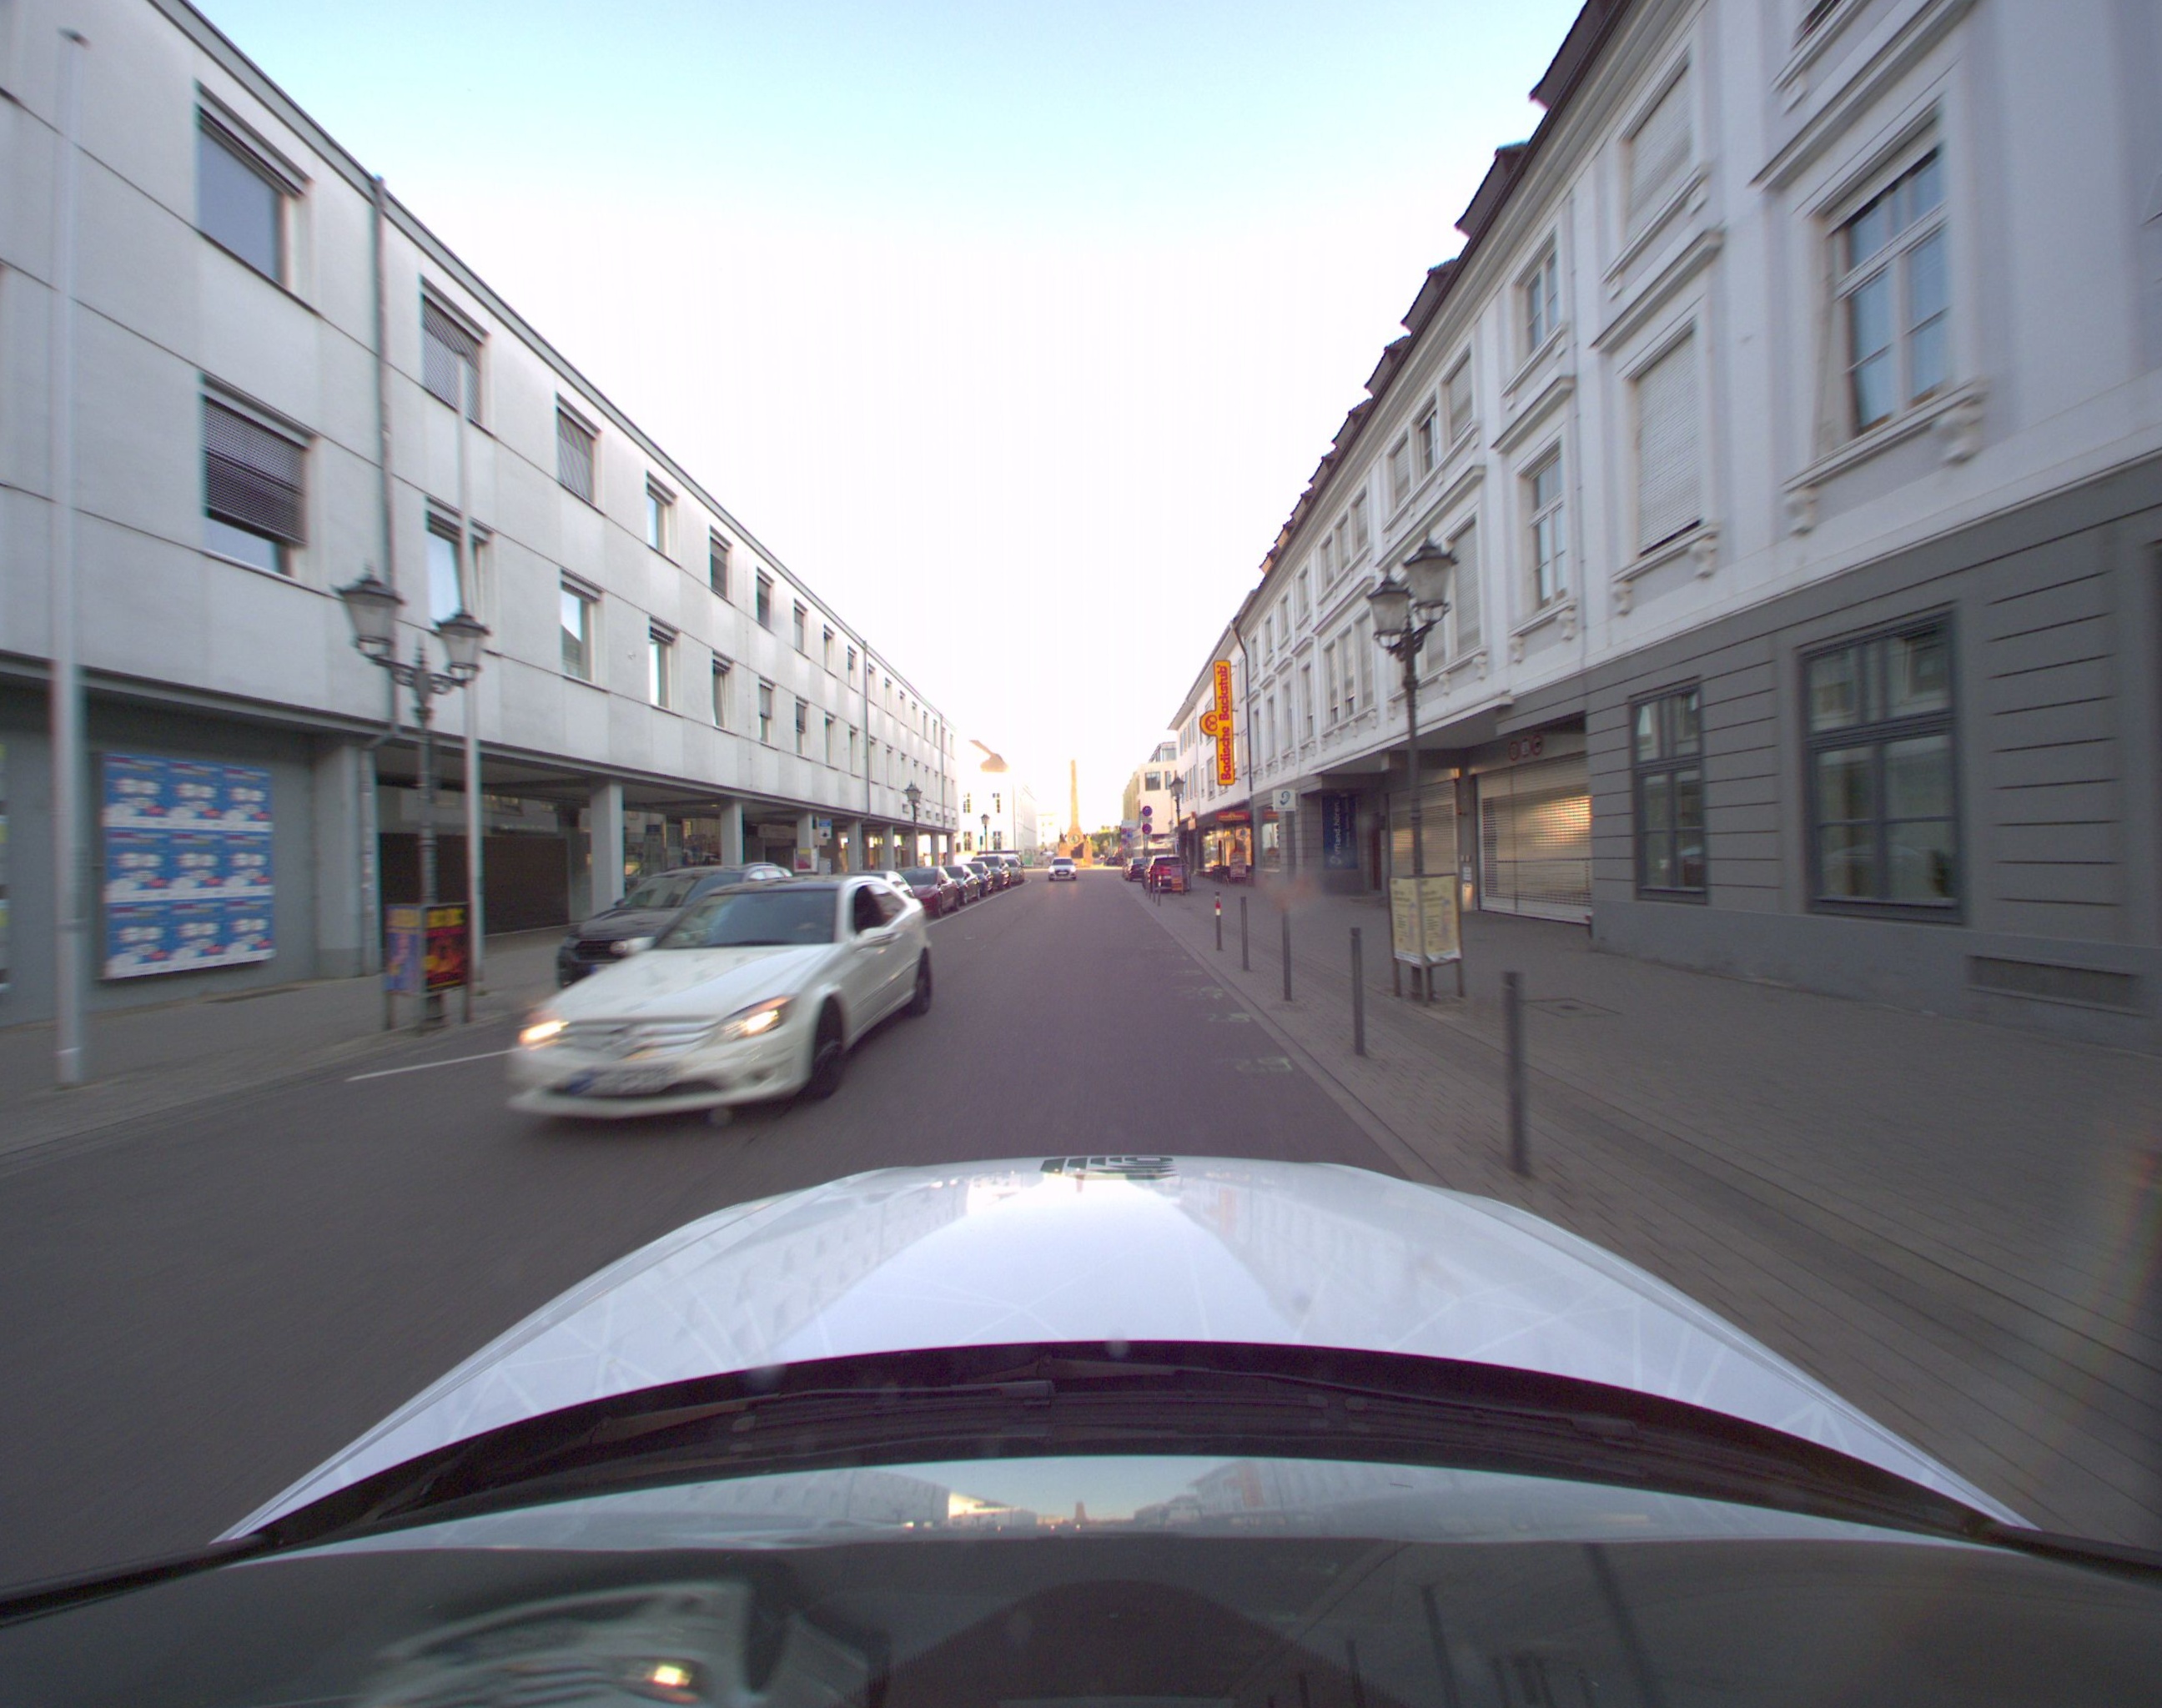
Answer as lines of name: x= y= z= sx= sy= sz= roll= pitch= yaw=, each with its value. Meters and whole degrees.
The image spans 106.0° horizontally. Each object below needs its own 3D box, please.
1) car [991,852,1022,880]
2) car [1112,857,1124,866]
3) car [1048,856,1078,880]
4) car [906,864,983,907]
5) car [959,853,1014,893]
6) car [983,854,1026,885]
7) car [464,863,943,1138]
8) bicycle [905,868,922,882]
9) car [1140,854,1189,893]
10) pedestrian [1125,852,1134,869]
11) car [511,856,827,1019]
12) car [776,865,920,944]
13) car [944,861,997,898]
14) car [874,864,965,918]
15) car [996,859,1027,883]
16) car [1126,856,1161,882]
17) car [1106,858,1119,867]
car: x=-5.193 y=0.783 z=56.228 sx=1.991 sy=1.816 sz=4.773 roll=-1 pitch=0 yaw=-6
car: x=6.266 y=1.206 z=138.464 sx=1.986 sy=1.464 sz=4.002 roll=-2 pitch=0 yaw=2
car: x=-1.117 y=0.872 z=52.757 sx=1.758 sy=1.422 sz=4.001 roll=-1 pitch=0 yaw=1
car: x=-4.808 y=1.088 z=29.263 sx=1.986 sy=1.354 sz=4.001 roll=-1 pitch=0 yaw=1
car: x=-4.588 y=0.883 z=39.997 sx=1.986 sy=1.728 sz=4.517 roll=-3 pitch=0 yaw=1
car: x=-4.334 y=0.867 z=46.910 sx=1.986 sy=1.662 sz=4.001 roll=-1 pitch=0 yaw=1
car: x=-2.423 y=0.826 z=6.513 sx=1.778 sy=1.408 sz=4.090 roll=-2 pitch=0 yaw=2
bicycle: x=-12.101 y=1.511 z=58.850 sx=0.731 sy=0.983 sz=2.335 roll=-1 pitch=0 yaw=-1
car: x=3.494 y=0.799 z=34.487 sx=1.753 sy=1.523 sz=3.678 roll=-1 pitch=0 yaw=1
pedestrian: x=4.633 y=0.627 z=77.724 sx=0.688 sy=1.647 sz=0.695 roll=-2 pitch=0 yaw=0
car: x=-4.884 y=0.862 z=10.440 sx=1.778 sy=1.615 sz=4.167 roll=-2 pitch=0 yaw=2
car: x=-4.882 y=1.003 z=17.678 sx=1.778 sy=1.408 sz=4.090 roll=-2 pitch=0 yaw=2
car: x=-4.650 y=1.030 z=34.850 sx=1.668 sy=1.400 sz=3.999 roll=-2 pitch=0 yaw=0
car: x=-4.801 y=1.059 z=24.799 sx=1.778 sy=1.408 sz=4.090 roll=-2 pitch=0 yaw=2
car: x=-4.332 y=1.045 z=51.267 sx=1.673 sy=1.353 sz=4.102 roll=-1 pitch=0 yaw=-2
car: x=3.671 y=0.848 z=48.337 sx=1.795 sy=1.464 sz=4.118 roll=-1 pitch=0 yaw=1
car: x=5.016 y=1.338 z=130.000 sx=1.986 sy=1.464 sz=4.002 roll=-2 pitch=0 yaw=2
